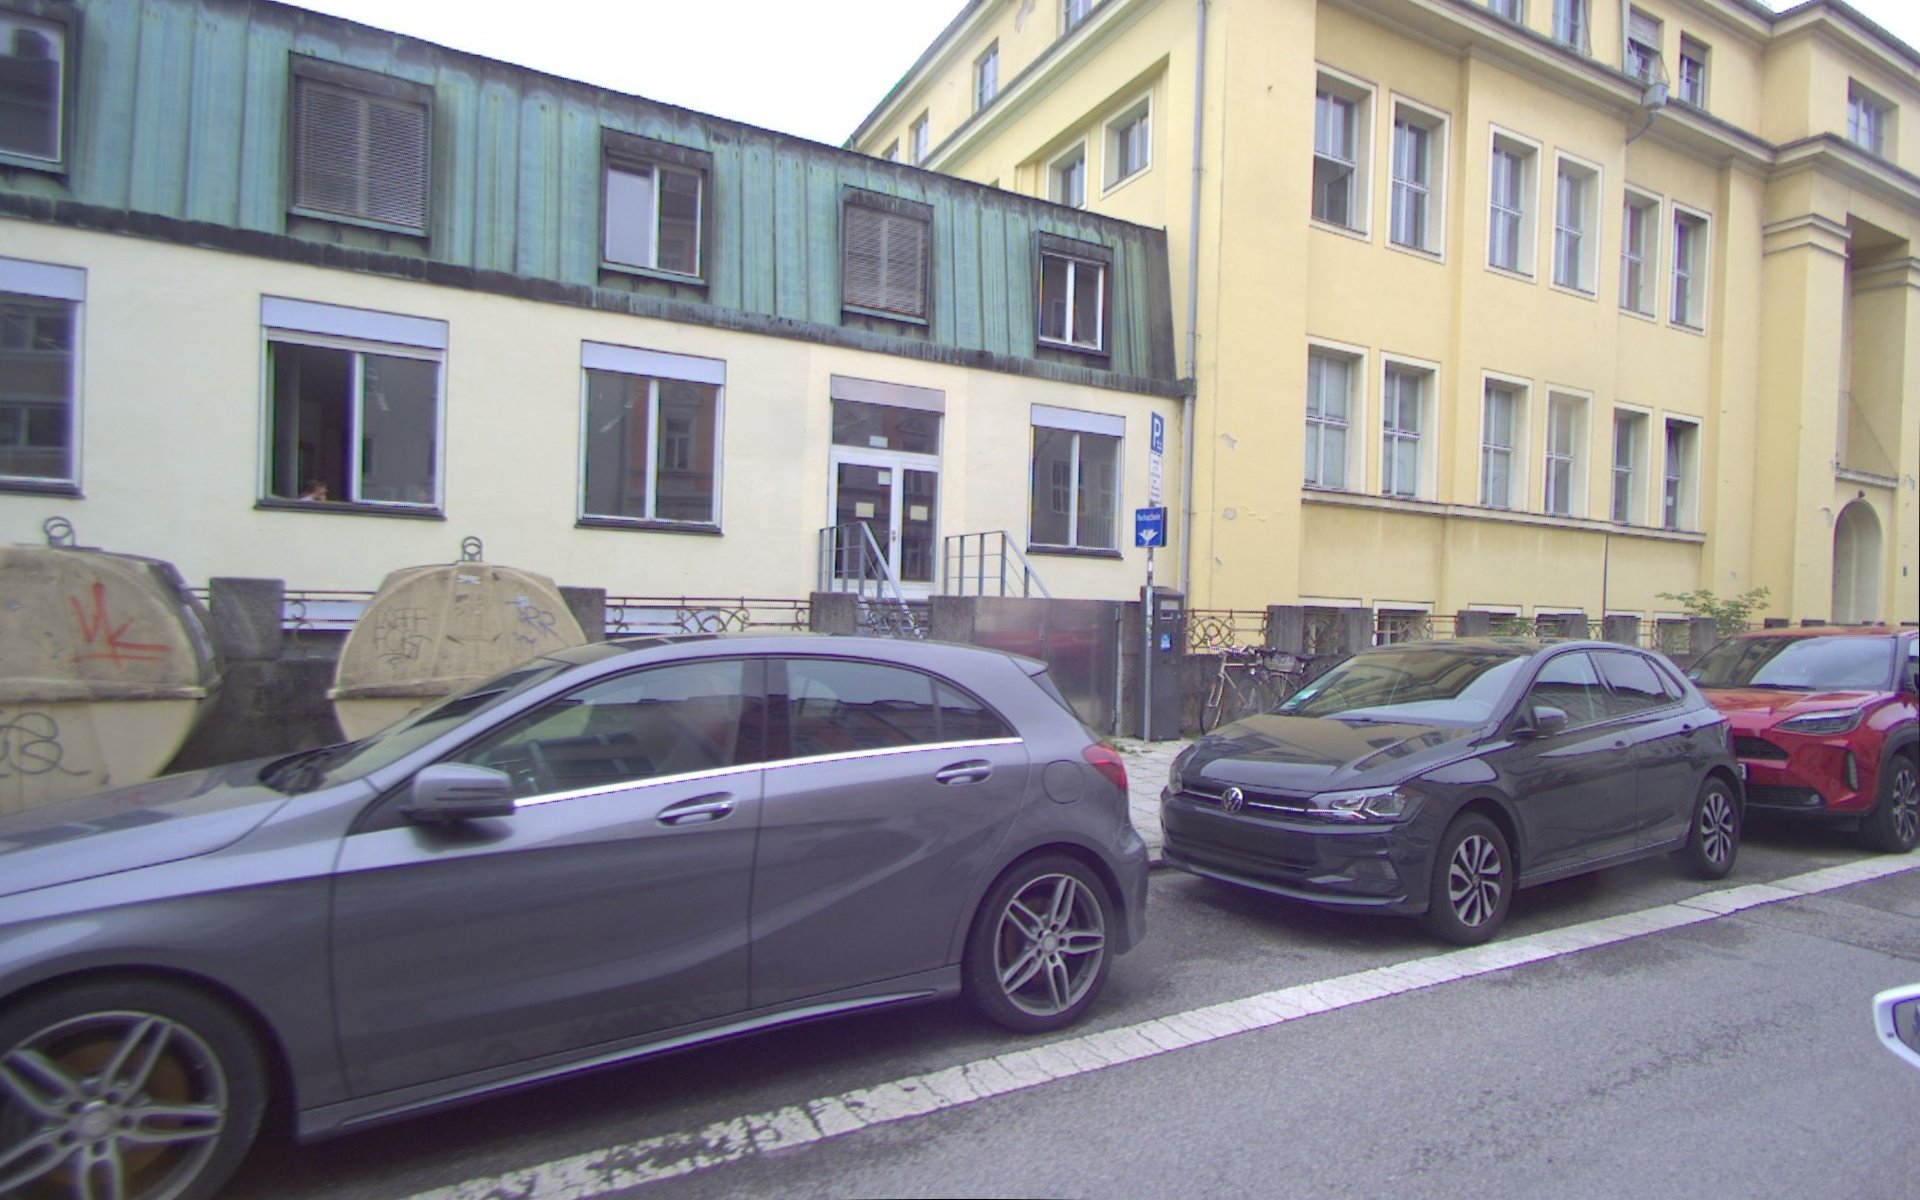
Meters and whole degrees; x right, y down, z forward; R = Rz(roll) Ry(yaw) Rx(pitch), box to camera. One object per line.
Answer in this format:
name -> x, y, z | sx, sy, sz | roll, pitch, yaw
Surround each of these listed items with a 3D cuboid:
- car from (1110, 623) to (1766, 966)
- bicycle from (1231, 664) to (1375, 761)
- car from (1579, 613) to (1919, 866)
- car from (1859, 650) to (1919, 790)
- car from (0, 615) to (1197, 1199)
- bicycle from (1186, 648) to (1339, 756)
car -> 2.947, 0.896, 5.971 | 3.947, 1.423, 1.666 | 1, -4, -33
bicycle -> 3.967, 1.267, 11.588 | 1.717, 1.009, 0.454 | 1, 1, -25
car -> 6.920, 0.963, 8.082 | 3.952, 1.587, 1.666 | 1, -4, -32
car -> 11.628, 1.236, 10.877 | 3.951, 1.416, 1.667 | 1, -4, -31
car -> -1.286, 0.823, 3.652 | 4.079, 1.423, 1.786 | 1, -4, -30
bicycle -> 3.592, 1.176, 11.888 | 1.911, 1.188, 0.422 | 1, 1, -25
